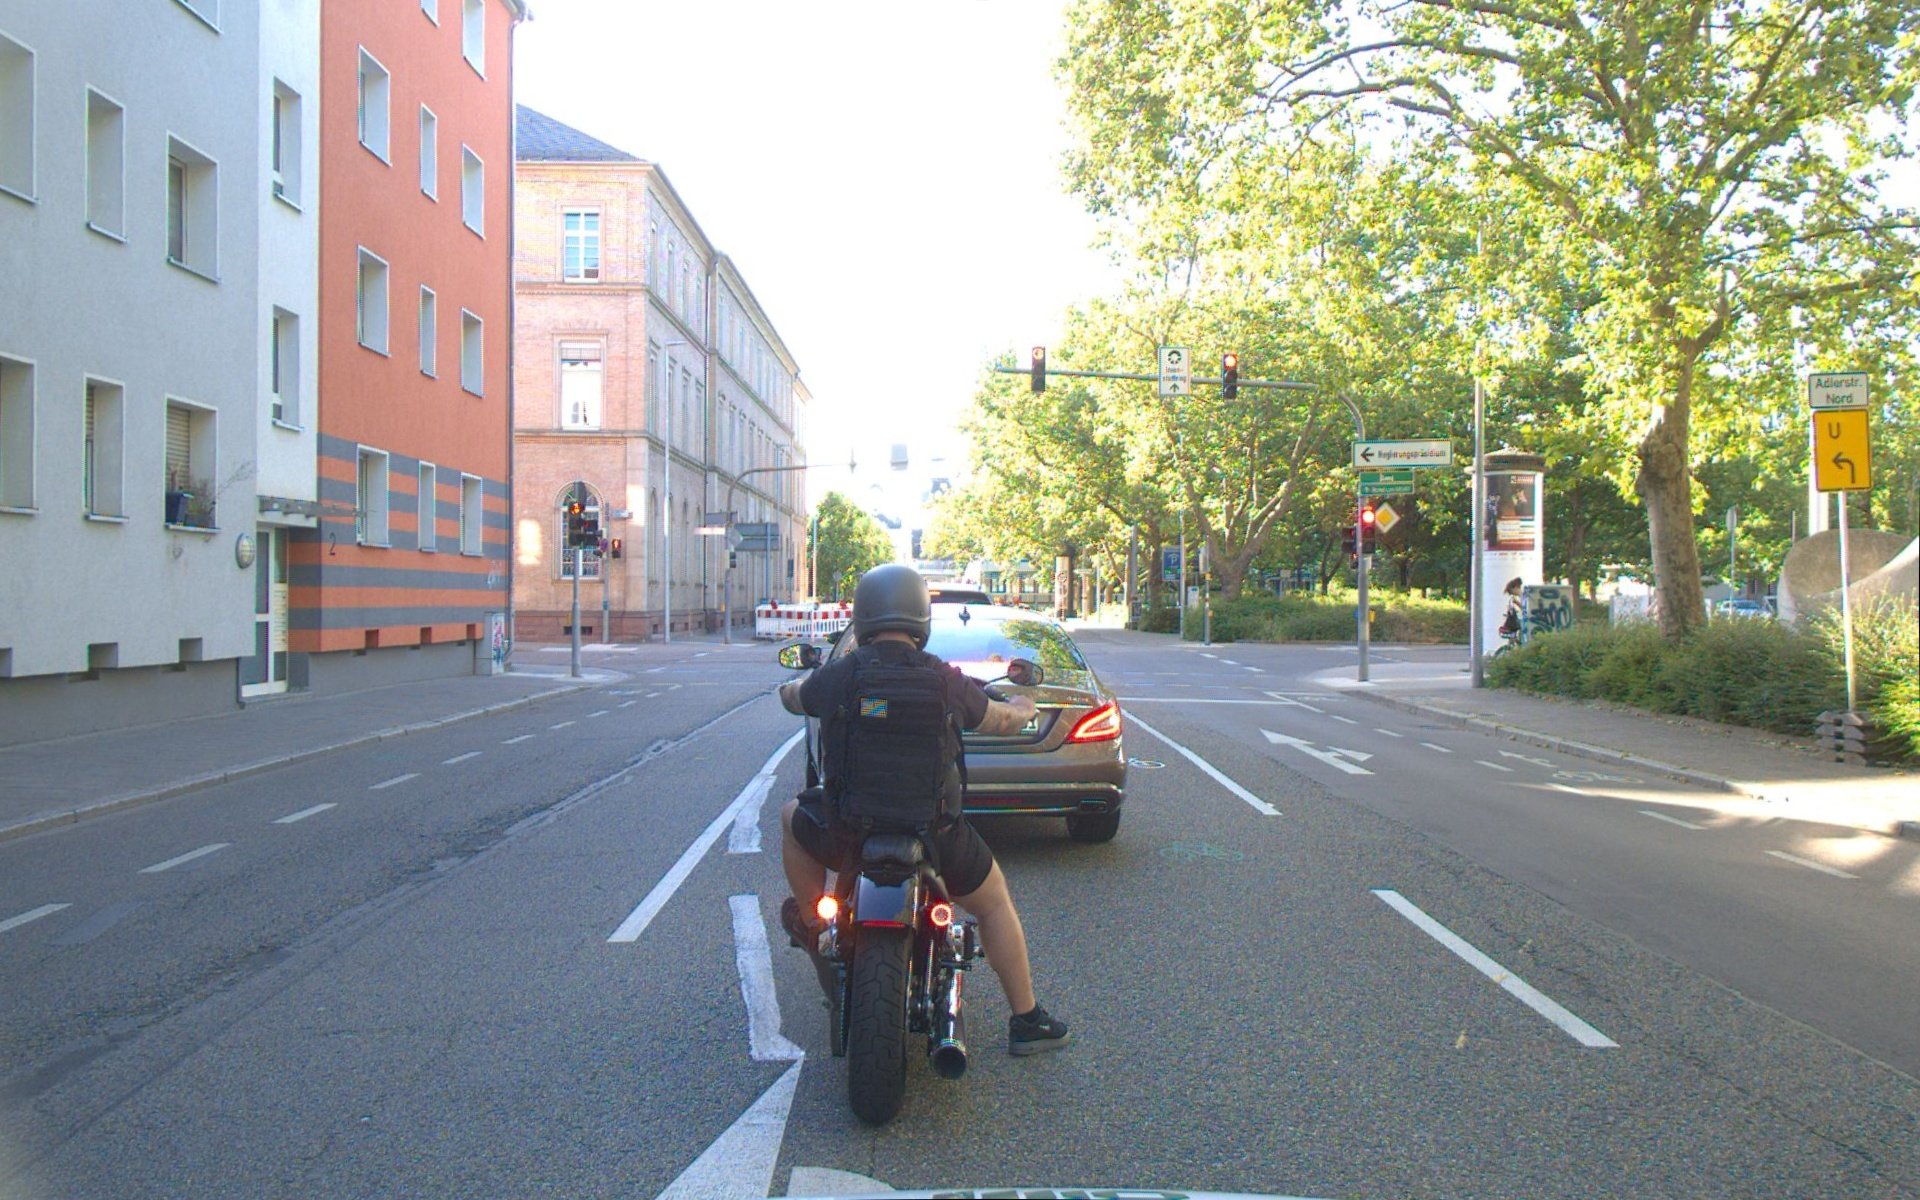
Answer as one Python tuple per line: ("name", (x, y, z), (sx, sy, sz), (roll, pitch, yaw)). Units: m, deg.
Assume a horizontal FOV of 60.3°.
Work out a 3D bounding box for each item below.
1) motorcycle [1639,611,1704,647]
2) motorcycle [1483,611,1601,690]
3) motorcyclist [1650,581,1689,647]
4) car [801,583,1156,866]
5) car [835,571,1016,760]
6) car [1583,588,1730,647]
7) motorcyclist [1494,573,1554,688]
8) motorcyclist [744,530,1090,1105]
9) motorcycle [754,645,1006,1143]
("motorcycle", (20.651, 0.841, 48.032), (1.683, 1.019, 0.416), (0, 0, 3))
("motorcycle", (9.770, 0.839, 27.810), (1.743, 1.265, 0.723), (1, 0, 4))
("motorcyclist", (20.591, 0.395, 48.024), (0.962, 1.909, 0.376), (0, -1, 3))
("car", (-0.092, 0.683, 11.112), (1.790, 1.512, 4.326), (1, 0, -7))
("car", (-0.337, 0.599, 16.956), (1.618, 1.681, 3.999), (1, 0, -1))
("car", (21.986, 0.545, 52.280), (3.907, 1.803, 1.737), (0, 0, -3))
("motorcyclist", (9.478, 0.507, 27.821), (0.805, 1.896, 0.672), (1, -1, 4))
("motorcyclist", (-0.130, 0.628, 5.313), (0.970, 1.639, 1.120), (1, 0, -1))
("motorcycle", (-0.225, 0.806, 5.403), (0.646, 1.261, 2.057), (1, 0, -1))
